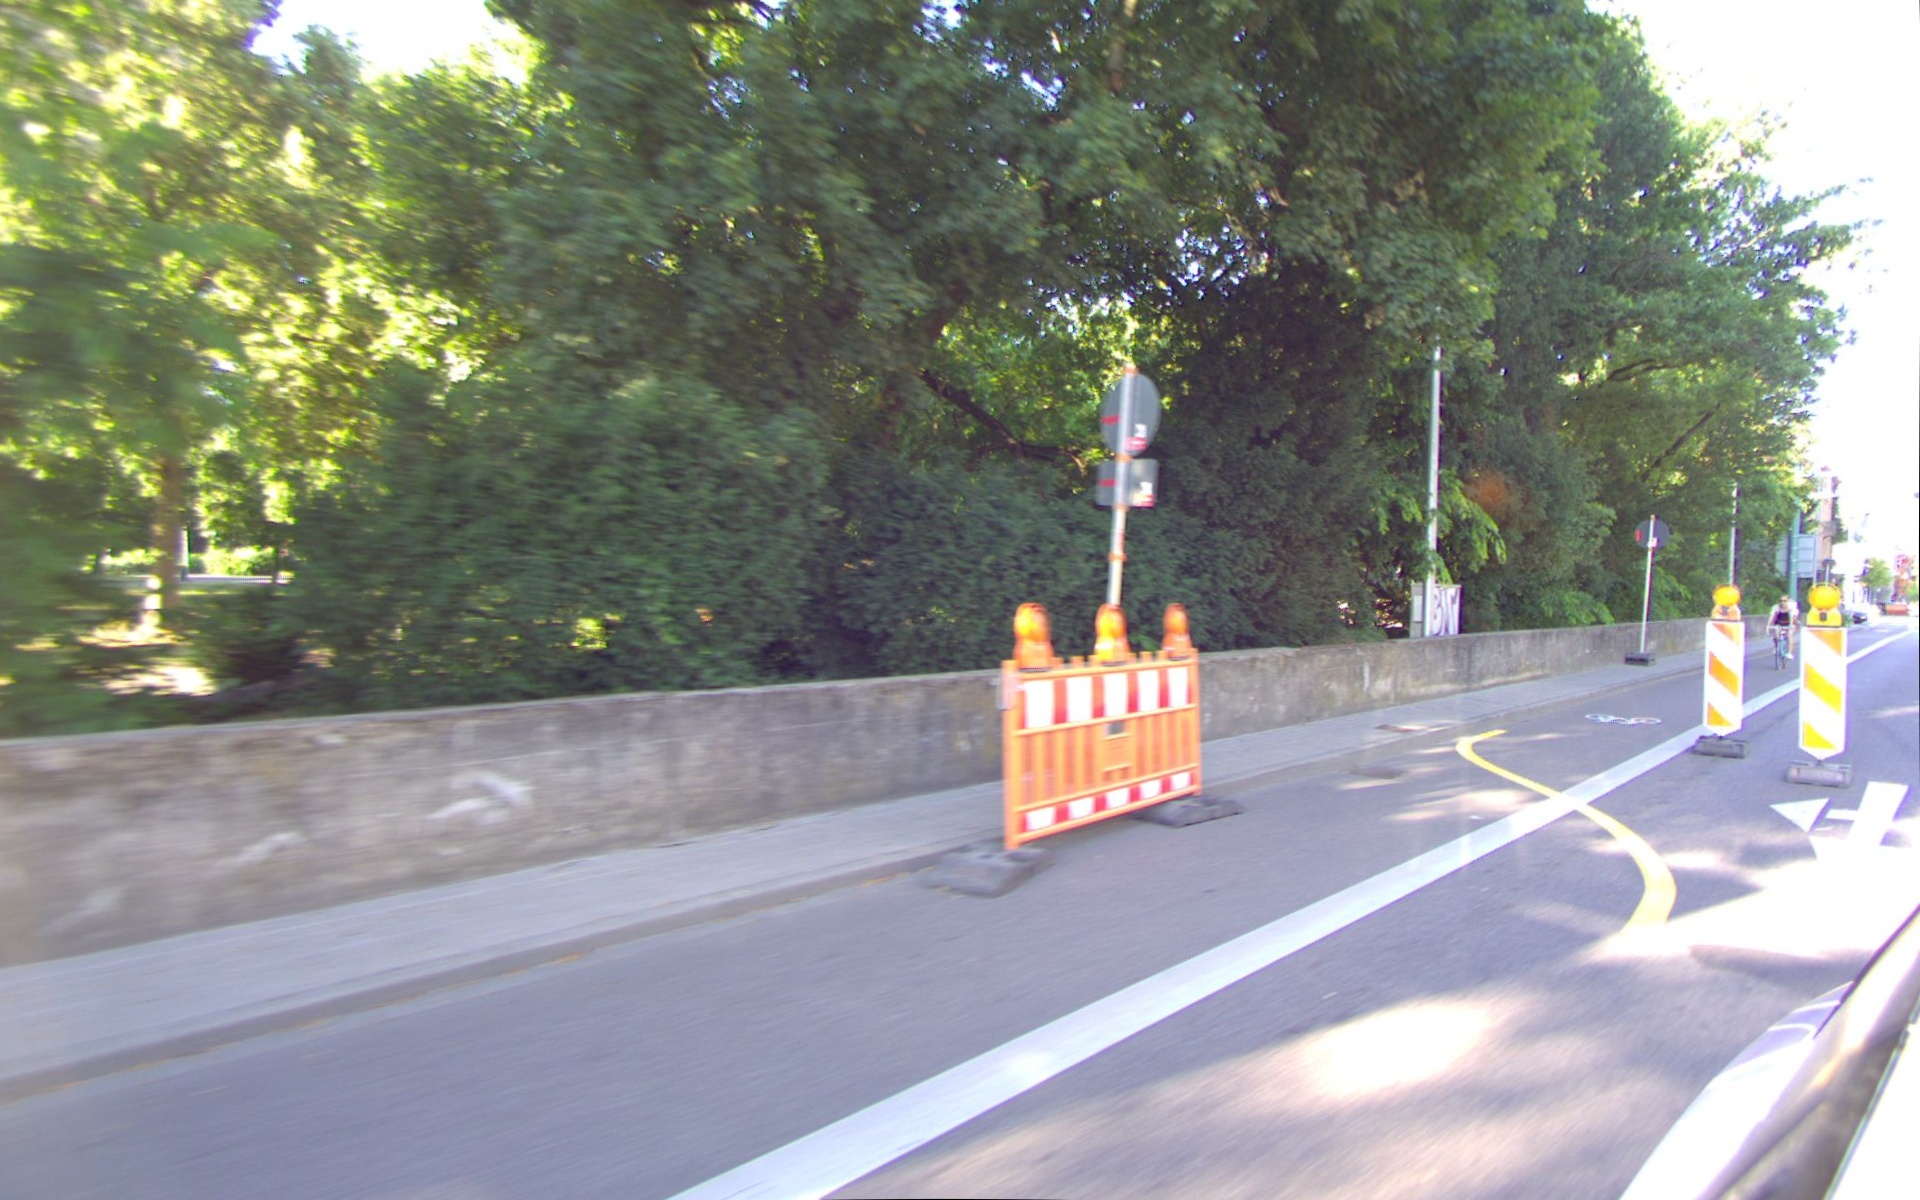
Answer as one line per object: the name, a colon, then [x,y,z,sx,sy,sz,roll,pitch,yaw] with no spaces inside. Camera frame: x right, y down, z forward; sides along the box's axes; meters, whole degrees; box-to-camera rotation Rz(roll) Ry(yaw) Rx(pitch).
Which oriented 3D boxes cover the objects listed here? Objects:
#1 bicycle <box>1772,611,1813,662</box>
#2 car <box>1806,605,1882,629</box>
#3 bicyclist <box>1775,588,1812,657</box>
bicycle: [17.915,0.766,21.765,1.481,1.037,0.505,0,2,-45]
car: [58.349,1.117,66.888,1.969,1.371,3.988,1,2,11]
bicyclist: [17.900,0.470,21.738,0.515,1.424,0.792,2,2,45]
